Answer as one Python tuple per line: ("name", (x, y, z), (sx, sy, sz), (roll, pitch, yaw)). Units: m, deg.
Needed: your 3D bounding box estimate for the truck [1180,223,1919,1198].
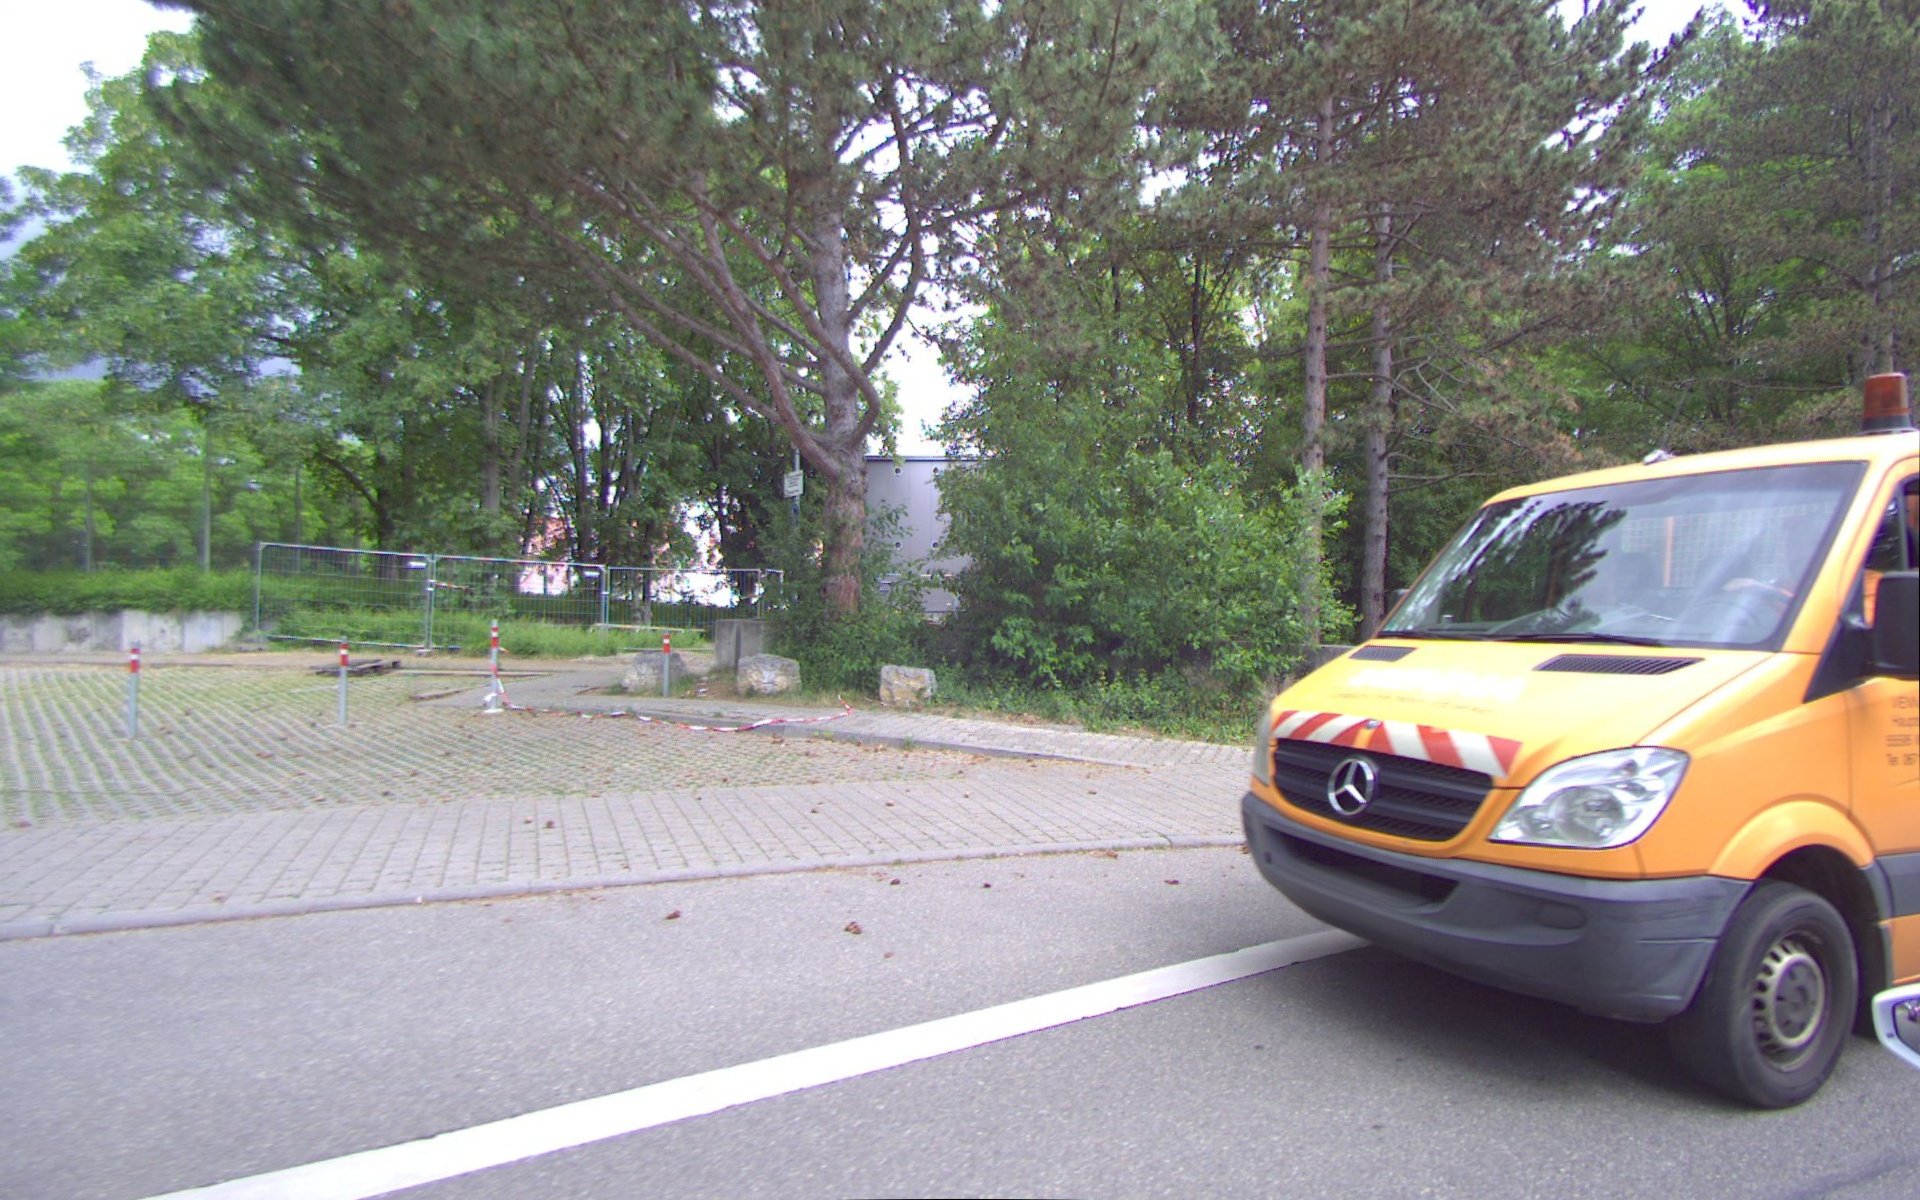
("truck", (4.224, 0.321, 4.745), (5.931, 2.503, 2.318), (1, 0, -21))
